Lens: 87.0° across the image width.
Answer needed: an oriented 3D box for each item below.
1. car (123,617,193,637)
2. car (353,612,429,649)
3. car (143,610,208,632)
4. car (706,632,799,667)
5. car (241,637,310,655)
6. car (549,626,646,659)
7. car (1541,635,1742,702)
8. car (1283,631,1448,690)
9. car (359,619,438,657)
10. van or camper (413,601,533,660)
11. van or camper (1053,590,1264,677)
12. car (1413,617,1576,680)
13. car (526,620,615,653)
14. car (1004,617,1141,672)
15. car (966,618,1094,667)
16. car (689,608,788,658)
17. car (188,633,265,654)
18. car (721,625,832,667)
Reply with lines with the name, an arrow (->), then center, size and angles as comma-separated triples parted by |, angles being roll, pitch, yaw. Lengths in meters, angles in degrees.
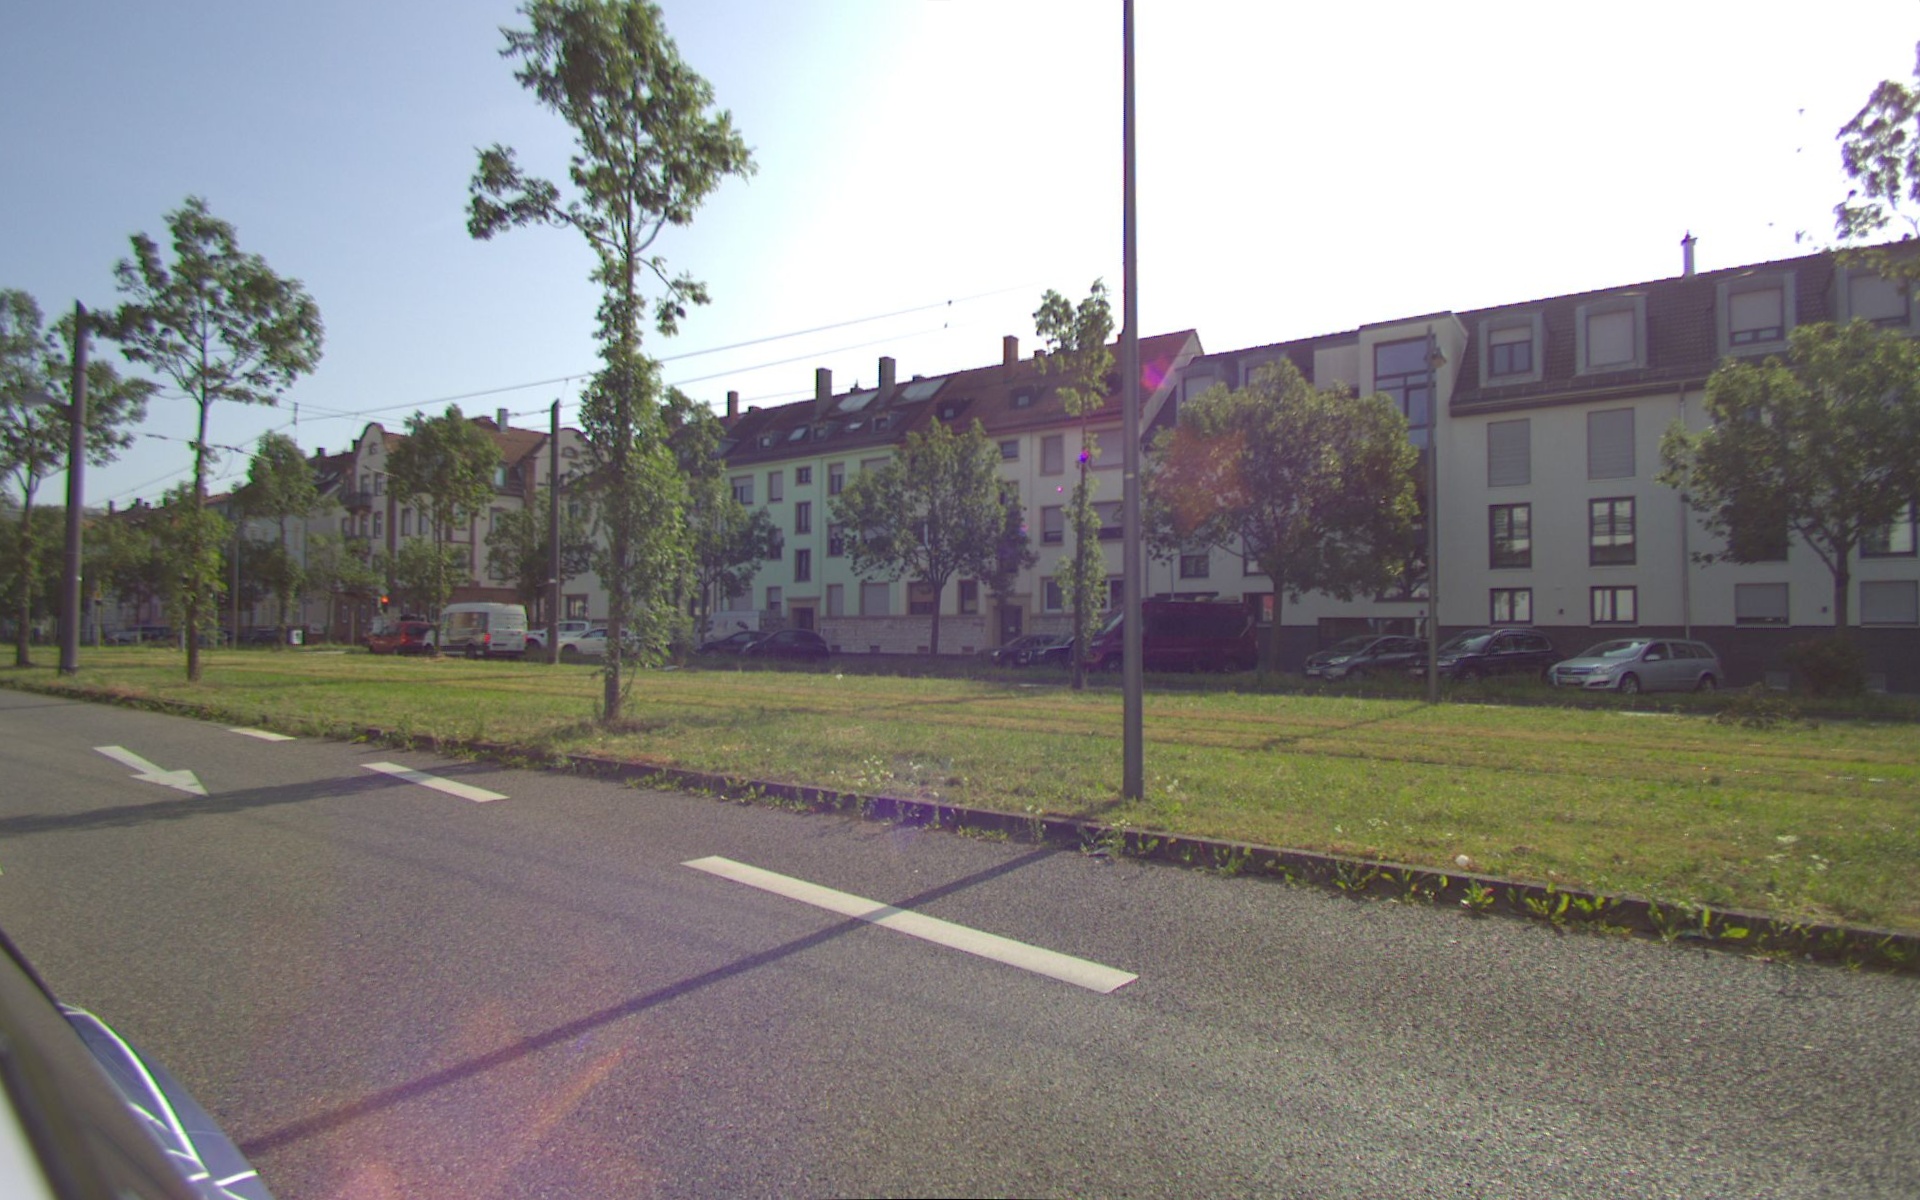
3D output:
car -> -68.998, 2.326, 87.131 | 4.423, 1.617, 2.007 | 0, 0, -26
car -> -42.456, 2.223, 75.424 | 6.491, 2.583, 2.329 | -1, 0, 34
car -> -64.778, 1.744, 83.614 | 3.930, 1.719, 1.881 | 0, 0, -26
car -> -8.860, 2.092, 43.085 | 3.713, 1.353, 1.778 | 0, 0, -17
car -> -48.426, 3.245, 71.684 | 3.783, 1.136, 1.775 | 0, 0, -23
car -> -17.367, 2.019, 48.686 | 4.292, 1.486, 1.863 | 0, 0, -17
car -> 15.956, 1.555, 23.704 | 4.323, 1.330, 1.740 | 0, -1, -22
car -> 11.036, 1.606, 27.564 | 3.931, 1.431, 1.787 | 0, 0, -19
car -> -27.442, 1.851, 49.407 | 4.154, 1.751, 1.799 | -1, -4, 37
van or camper -> -21.830, 1.360, 45.266 | 6.045, 2.493, 2.122 | -1, -4, 36
van or camper -> 6.208, 1.039, 31.815 | 6.056, 2.566, 2.421 | 0, -2, -18
car -> 13.518, 1.189, 25.628 | 3.657, 1.445, 1.647 | 0, -1, -22
car -> -19.359, 1.802, 50.442 | 4.029, 1.541, 1.818 | 0, 0, -17
car -> 3.723, 1.442, 33.668 | 4.083, 1.628, 1.874 | 0, 2, -16
car -> 2.441, 1.463, 35.556 | 4.083, 1.520, 1.874 | 0, 2, -16
car -> -11.700, 1.695, 53.336 | 5.568, 2.482, 1.975 | -1, 0, 37
car -> -56.103, 3.331, 77.542 | 4.437, 1.451, 2.007 | 0, 0, -23
car -> -7.465, 1.823, 41.013 | 4.277, 1.541, 2.006 | 0, 0, -15
